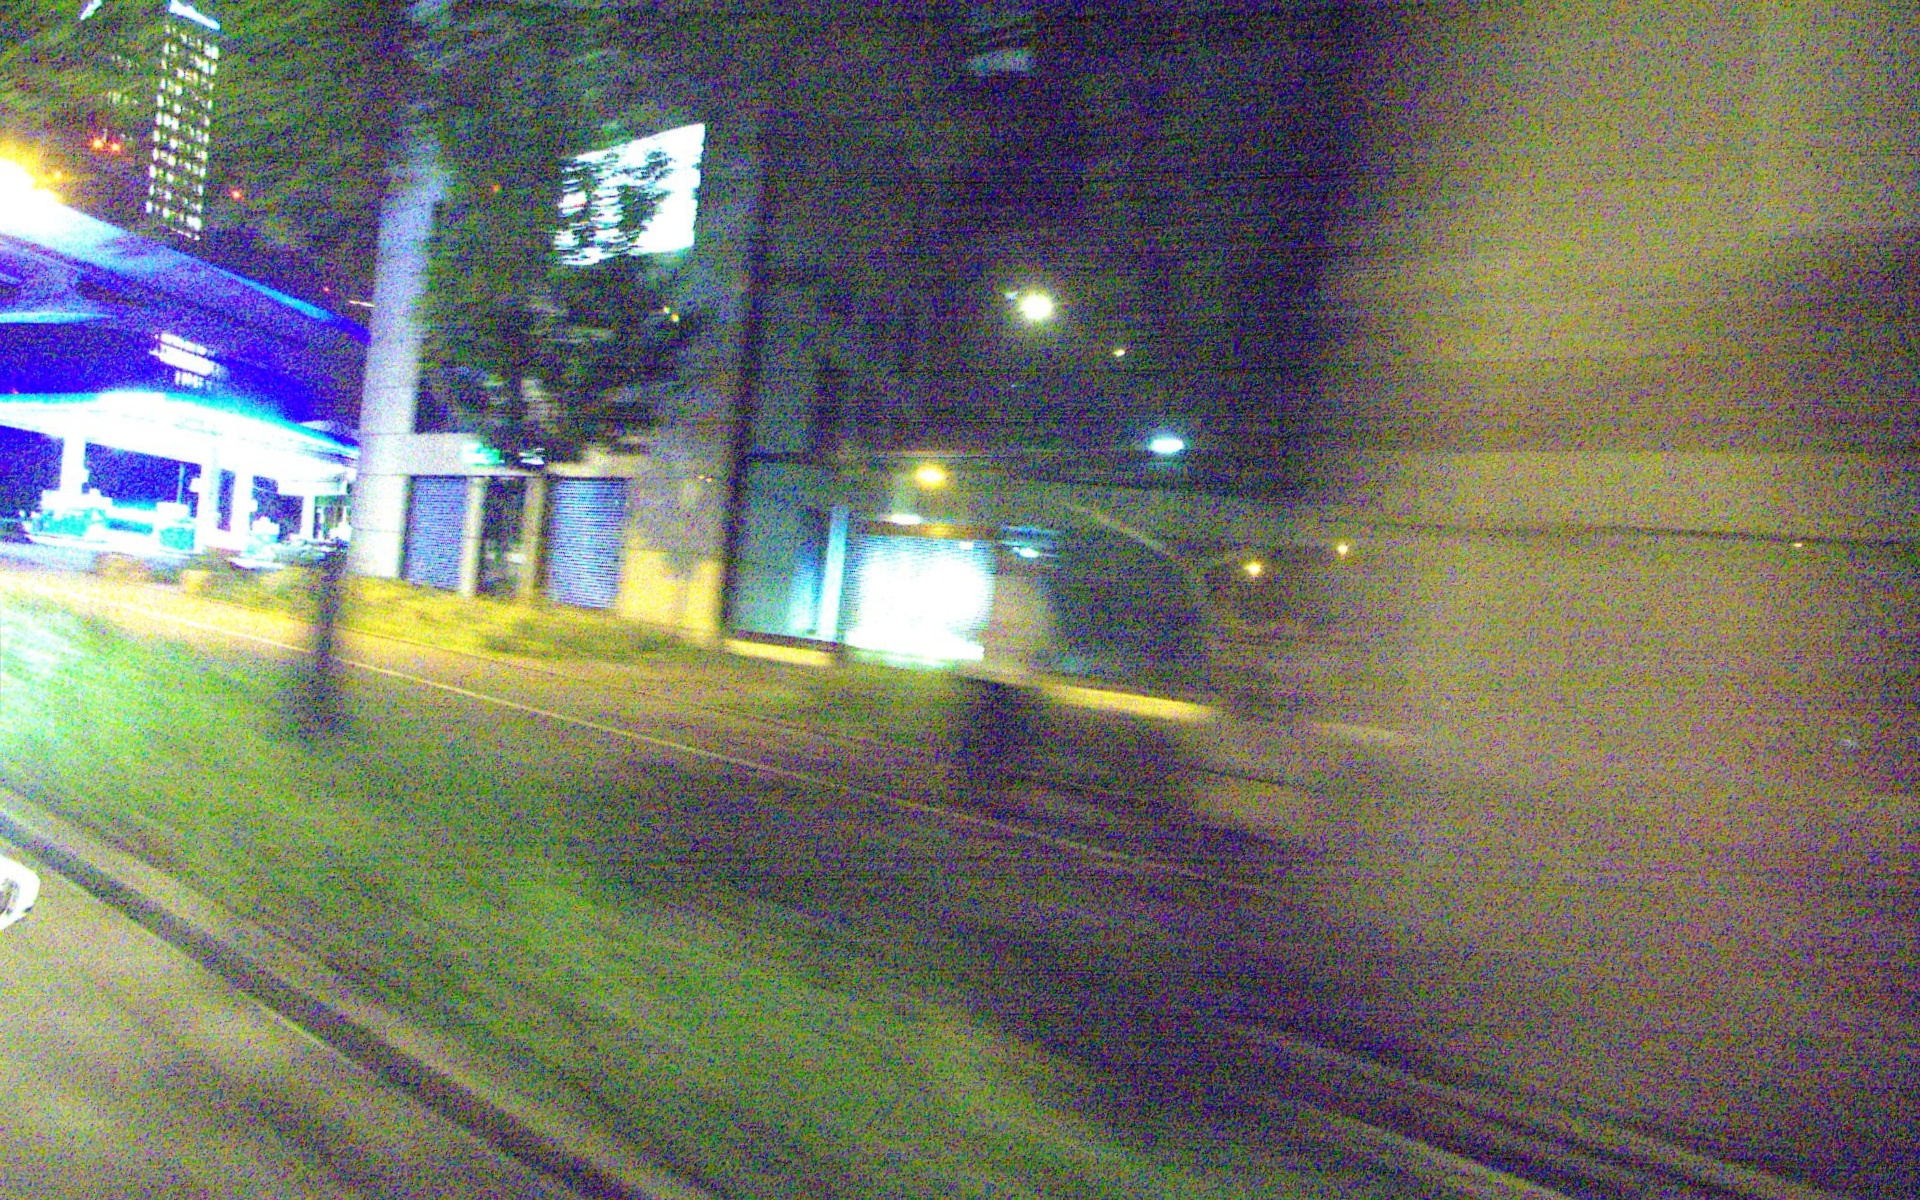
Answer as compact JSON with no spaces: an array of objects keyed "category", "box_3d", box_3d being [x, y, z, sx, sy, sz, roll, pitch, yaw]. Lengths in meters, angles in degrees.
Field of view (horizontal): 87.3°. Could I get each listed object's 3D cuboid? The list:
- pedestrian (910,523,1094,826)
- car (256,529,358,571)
[{"category":"pedestrian","box_3d":[0.292,0.491,7.057,0.782,1.938,0.803,8,3,41]},{"category":"car","box_3d":[-29.493,-2.259,45.414,4.259,1.379,1.932,6,-1,27]}]
